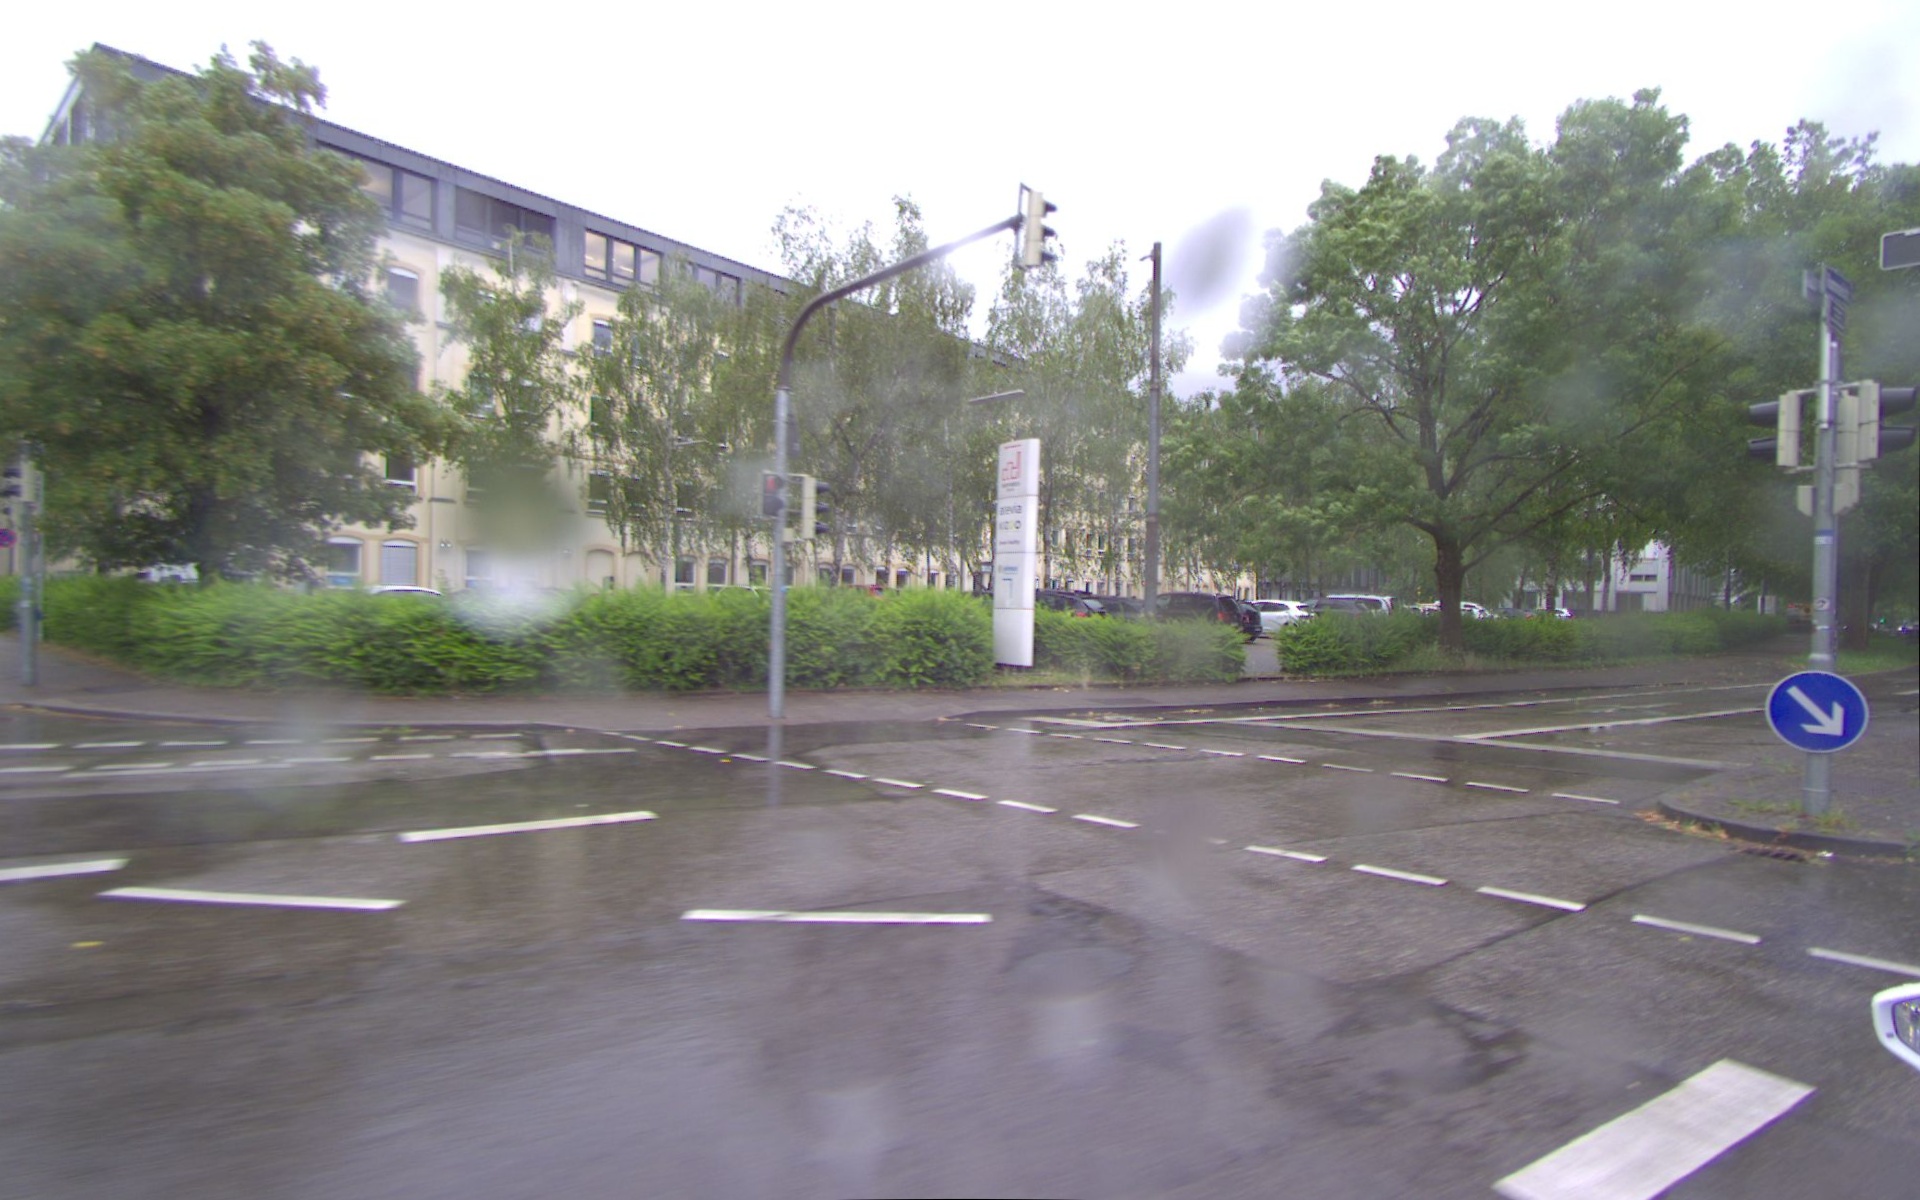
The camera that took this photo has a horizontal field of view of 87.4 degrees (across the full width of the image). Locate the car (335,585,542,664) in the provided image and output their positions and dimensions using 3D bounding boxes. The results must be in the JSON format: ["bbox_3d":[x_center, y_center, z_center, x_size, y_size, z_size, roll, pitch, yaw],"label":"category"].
[{"bbox_3d":[-12.269,0.542,23.857,1.753,1.708,4.011,1,0,36],"label":"car"}]

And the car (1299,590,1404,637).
[{"bbox_3d":[17.376,0.564,44.695,3.939,1.857,1.846,3,1,40],"label":"car"}]

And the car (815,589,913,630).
[{"bbox_3d":[-4.203,0.396,43.685,3.936,1.708,1.992,1,0,37],"label":"car"}]

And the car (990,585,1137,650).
[{"bbox_3d":[2.773,0.438,27.751,1.905,1.558,3.960,1,1,-35],"label":"car"}]

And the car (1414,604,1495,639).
[{"bbox_3d":[29.696,1.259,60.365,3.945,2.040,1.988,1,0,44],"label":"car"}]

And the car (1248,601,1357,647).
[{"bbox_3d":[14.234,0.965,41.866,3.944,1.660,1.699,3,1,44],"label":"car"}]

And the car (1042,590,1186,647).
[{"bbox_3d":[4.400,0.506,29.146,1.905,1.442,3.960,1,1,-35],"label":"car"}]

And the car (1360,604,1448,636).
[{"bbox_3d":[24.166,1.072,54.774,1.873,1.571,3.947,1,1,-44],"label":"car"}]

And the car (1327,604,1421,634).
[{"bbox_3d":[20.845,0.932,50.651,1.873,1.392,3.947,1,0,-44],"label":"car"}]

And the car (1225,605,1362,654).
[{"bbox_3d":[10.666,0.915,32.376,1.699,1.356,3.960,1,1,-35],"label":"car"}]

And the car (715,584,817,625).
[{"bbox_3d":[-7.768,0.173,40.055,3.941,1.539,1.990,1,0,41],"label":"car"}]

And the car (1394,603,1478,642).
[{"bbox_3d":[27.561,1.253,58.192,3.945,2.161,1.988,1,0,44],"label":"car"}]

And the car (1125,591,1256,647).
[{"bbox_3d":[7.556,0.597,33.149,1.640,1.633,3.949,1,1,-43],"label":"car"}]

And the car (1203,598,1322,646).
[{"bbox_3d":[11.787,0.815,39.249,3.939,1.660,1.991,3,1,40],"label":"car"}]

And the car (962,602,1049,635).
[{"bbox_3d":[2.308,0.904,51.104,3.941,1.580,2.153,1,0,41],"label":"car"}]
